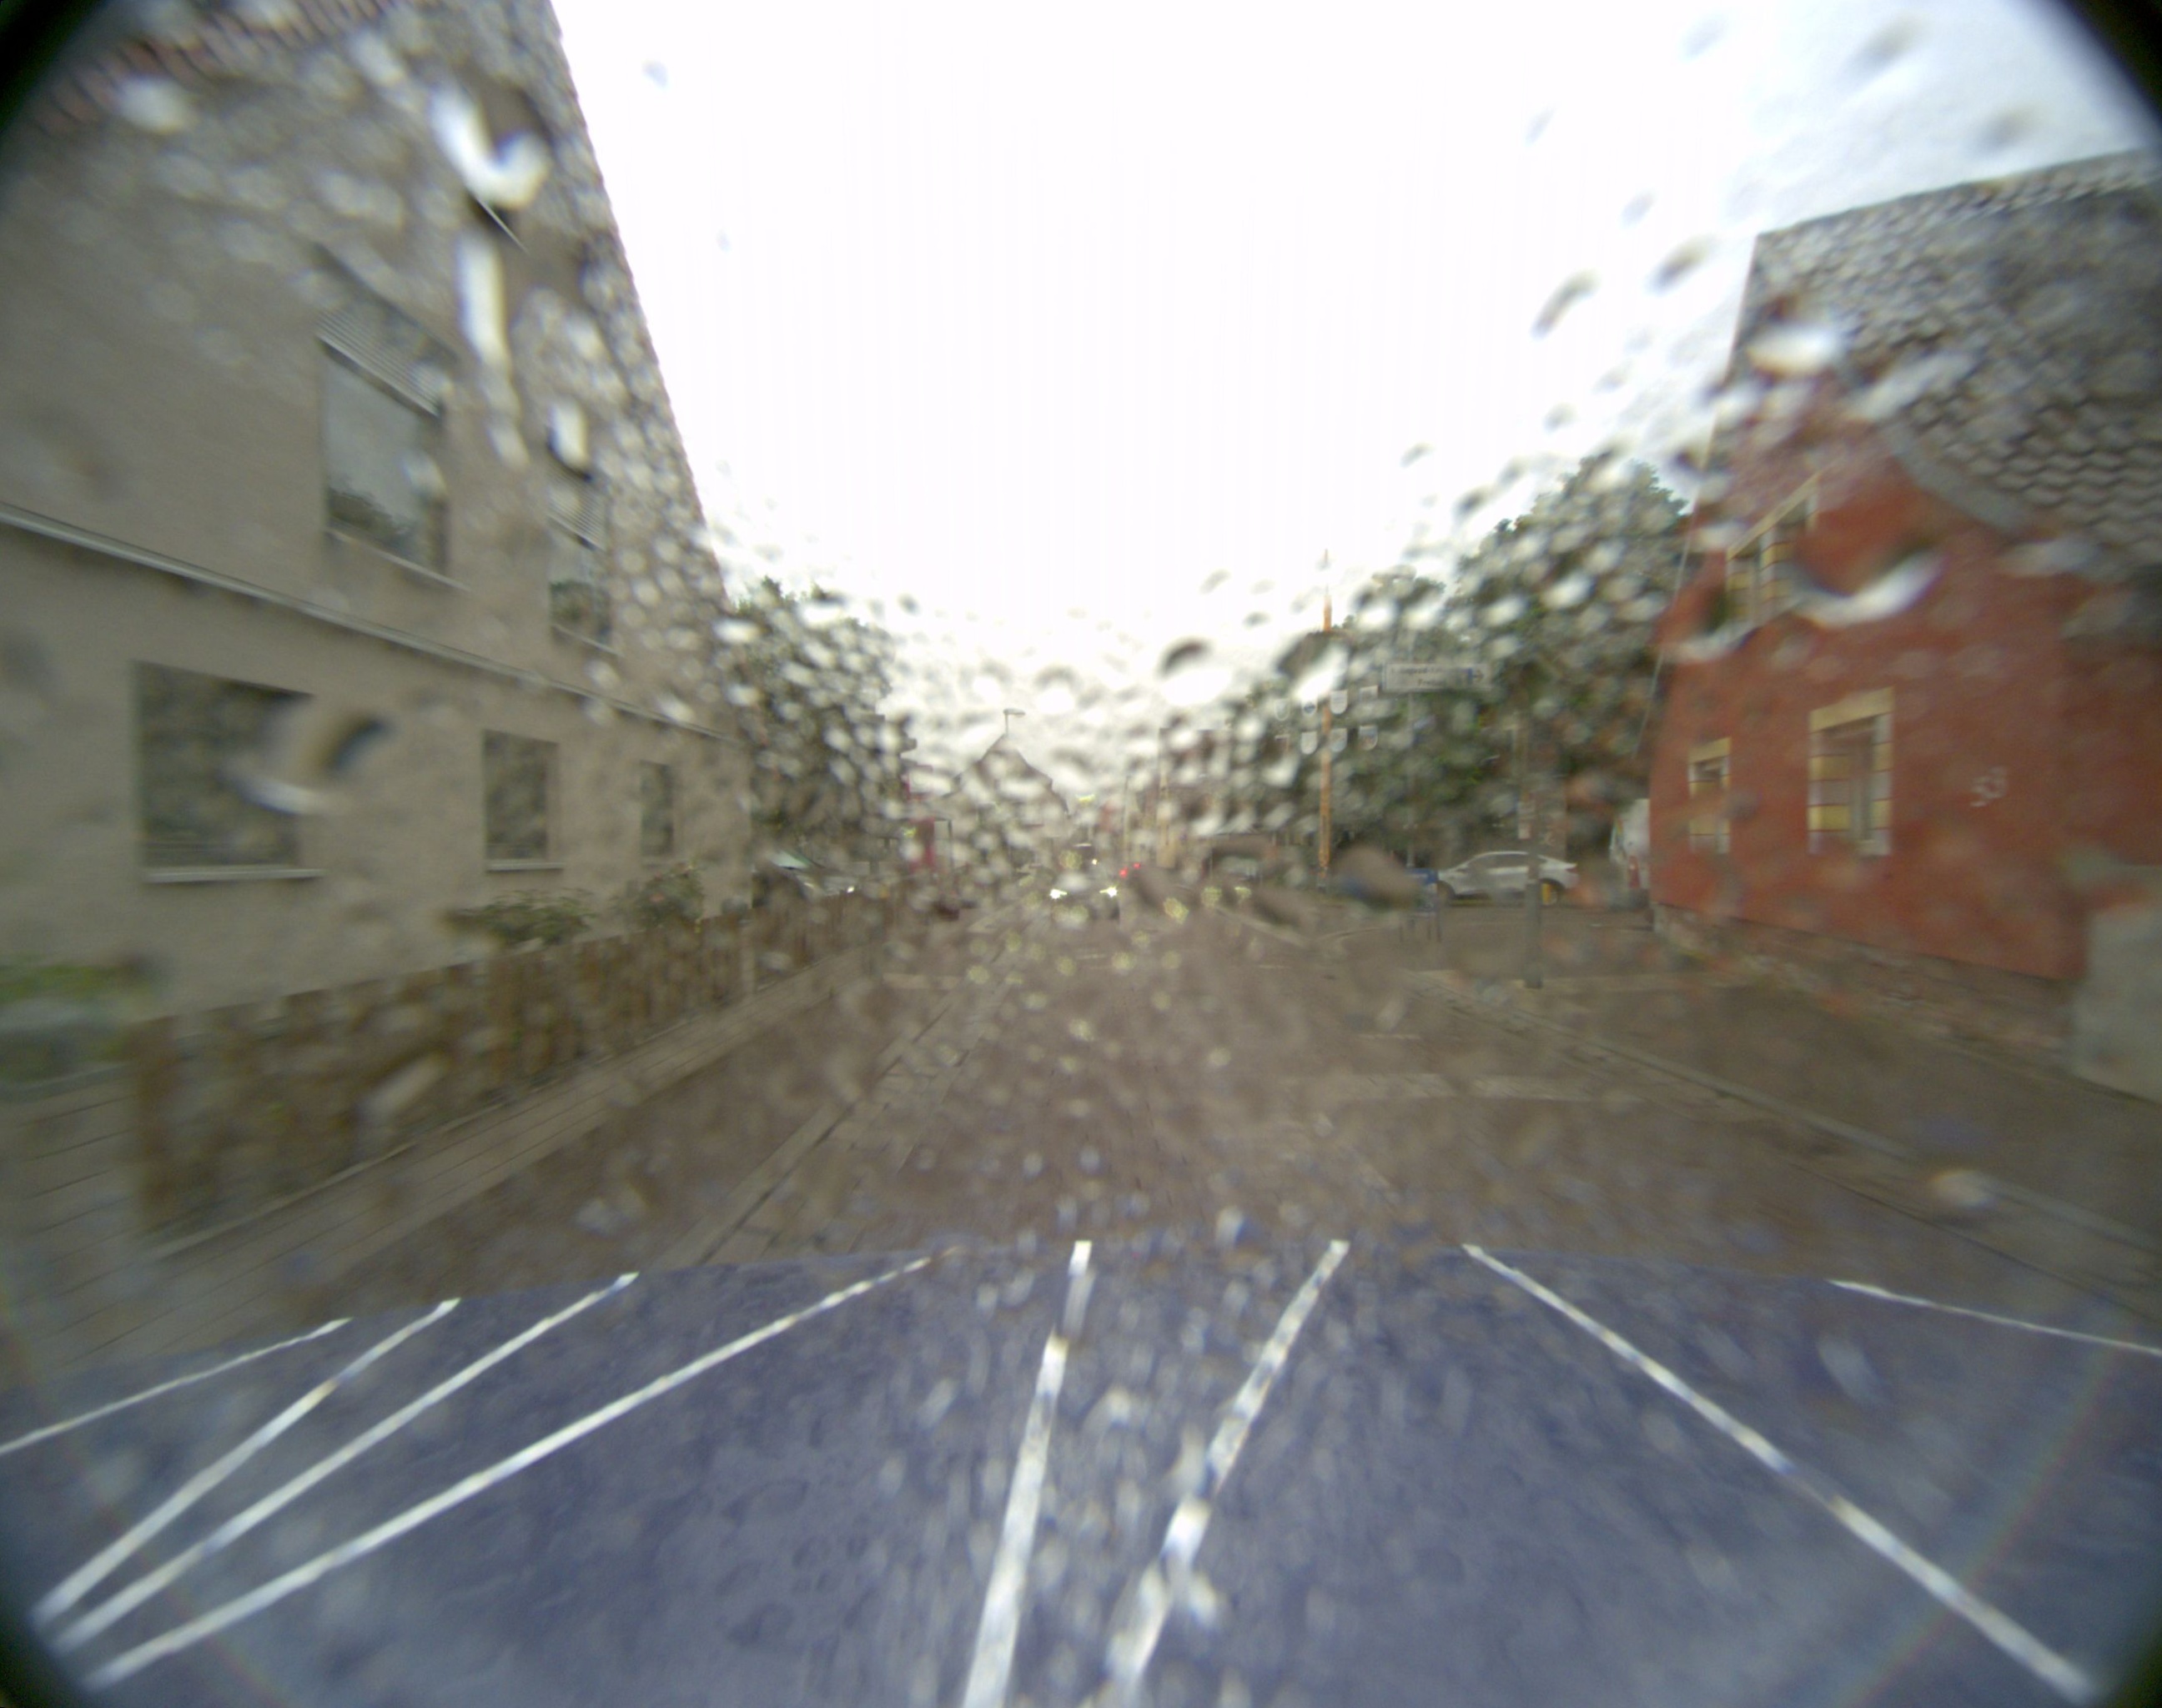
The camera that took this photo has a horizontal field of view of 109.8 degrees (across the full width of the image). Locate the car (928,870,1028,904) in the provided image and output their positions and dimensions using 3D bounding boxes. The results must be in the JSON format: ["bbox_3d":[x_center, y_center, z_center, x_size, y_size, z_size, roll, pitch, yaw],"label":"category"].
[{"bbox_3d":[-4.757,1.520,35.170,4.233,1.471,1.697,-1,0,16],"label":"car"}]

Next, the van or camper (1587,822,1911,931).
[{"bbox_3d":[16.618,0.536,19.440,5.863,2.459,2.158,-1,1,26],"label":"van or camper"}]

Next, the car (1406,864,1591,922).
[{"bbox_3d":[11.846,1.101,21.942,4.450,1.540,1.885,-2,-1,22],"label":"car"}]

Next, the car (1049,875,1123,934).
[{"bbox_3d":[0.188,1.309,20.645,1.800,1.341,3.739,-2,0,2],"label":"car"}]

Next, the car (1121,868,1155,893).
[{"bbox_3d":[3.489,1.587,47.193,1.848,1.468,4.315,0,-1,1],"label":"car"}]

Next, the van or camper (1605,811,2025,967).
[{"bbox_3d":[12.934,0.584,14.010,5.145,2.421,2.216,0,-1,27],"label":"van or camper"}]

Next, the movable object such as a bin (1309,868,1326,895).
[{"bbox_3d":[10.555,1.225,33.981,0.563,1.140,0.604,0,2,-1],"label":"movable object such as a bin"}]

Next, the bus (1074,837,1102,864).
[{"bbox_3d":[0.912,-0.615,111.149,2.894,3.589,11.972,-1,1,-5],"label":"bus"}]

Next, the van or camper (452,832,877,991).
[{"bbox_3d":[-5.812,0.772,11.138,5.082,1.912,1.876,-2,0,-2],"label":"van or camper"}]
